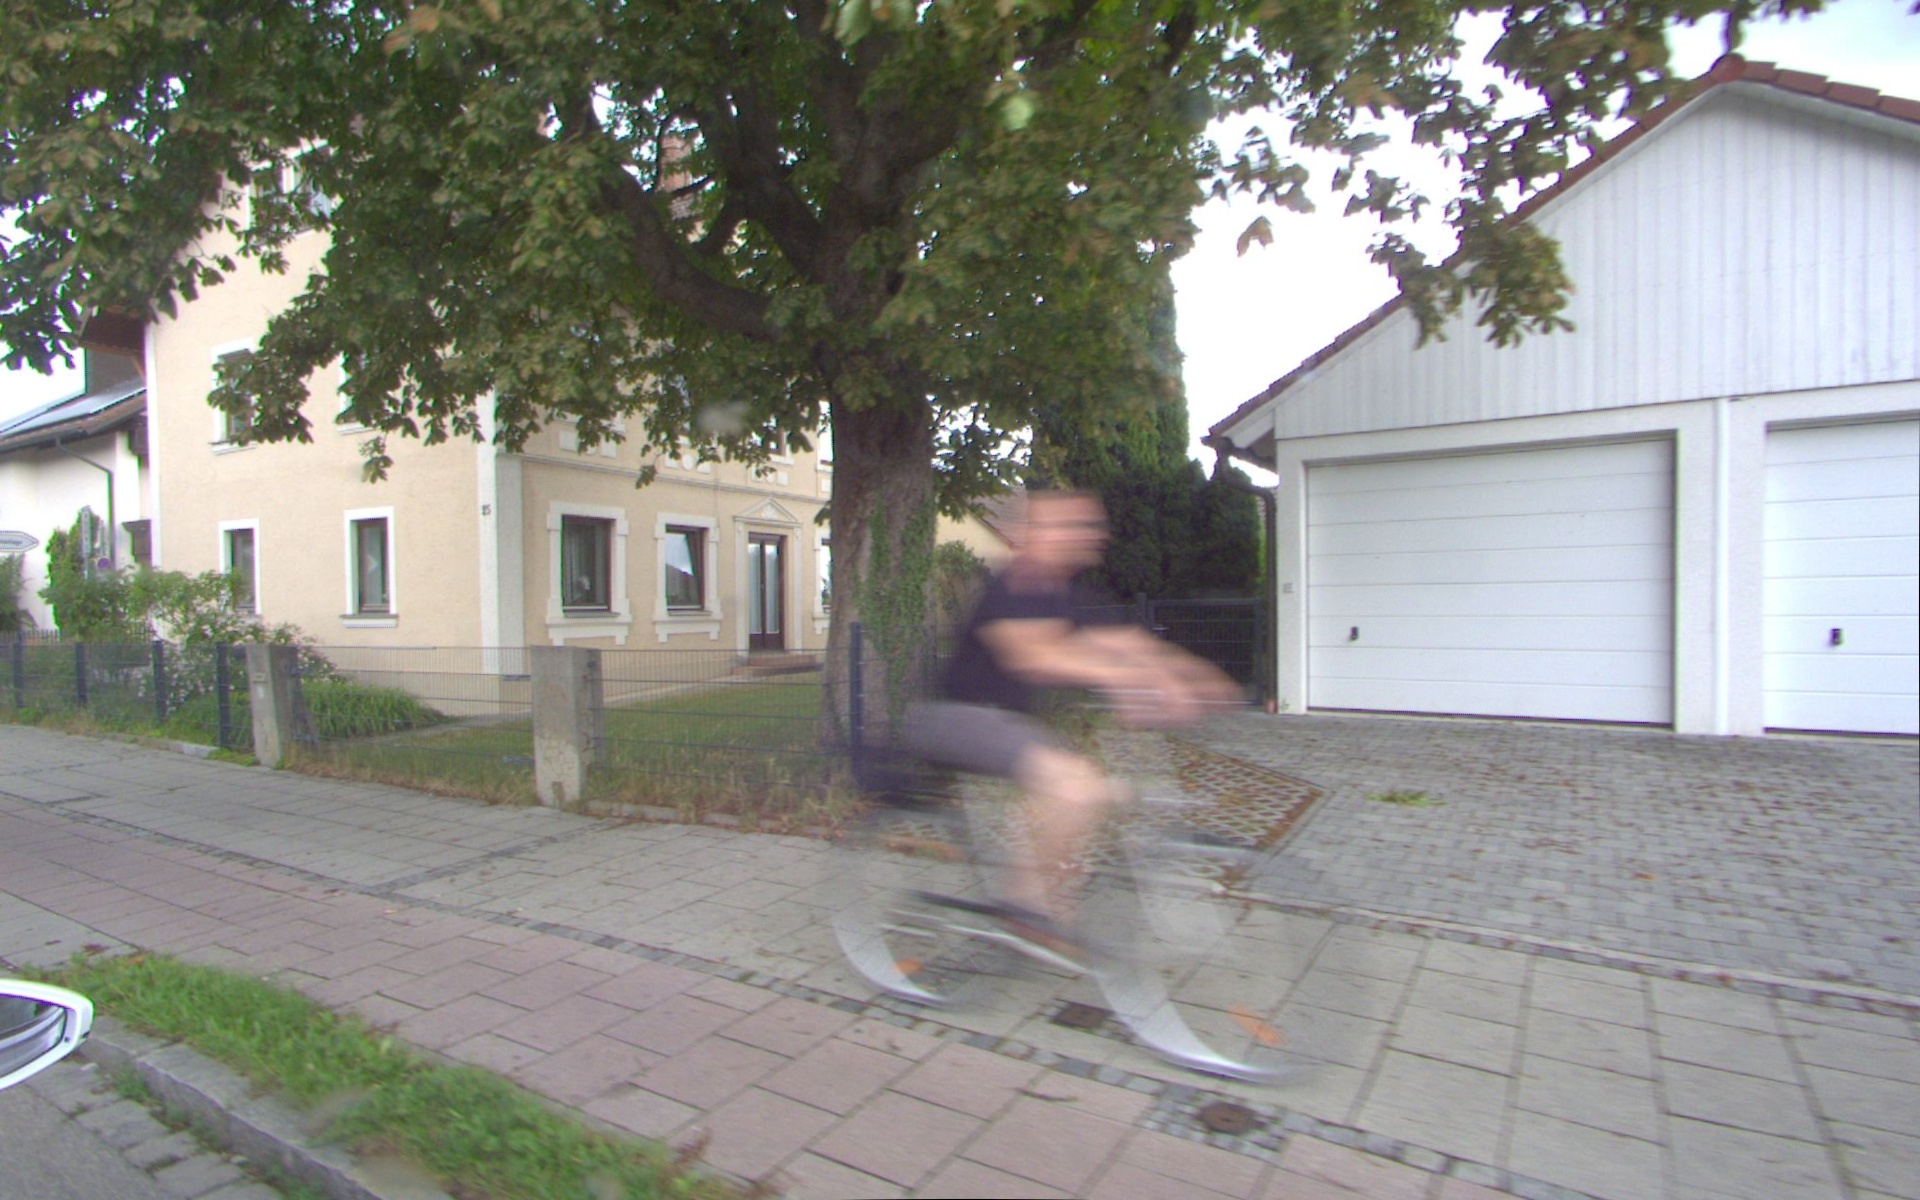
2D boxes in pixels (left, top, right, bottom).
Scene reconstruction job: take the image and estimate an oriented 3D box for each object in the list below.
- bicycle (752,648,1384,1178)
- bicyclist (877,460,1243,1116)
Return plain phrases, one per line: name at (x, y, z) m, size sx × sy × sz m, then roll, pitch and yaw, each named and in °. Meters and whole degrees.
bicycle at (0.273, 0.753, 3.114) m, size 1.820 × 1.158 × 0.762 m, roll -1°, pitch 0°, yaw 34°
bicyclist at (0.317, 0.484, 3.084) m, size 0.879 × 1.654 × 0.734 m, roll 0°, pitch 0°, yaw 35°
